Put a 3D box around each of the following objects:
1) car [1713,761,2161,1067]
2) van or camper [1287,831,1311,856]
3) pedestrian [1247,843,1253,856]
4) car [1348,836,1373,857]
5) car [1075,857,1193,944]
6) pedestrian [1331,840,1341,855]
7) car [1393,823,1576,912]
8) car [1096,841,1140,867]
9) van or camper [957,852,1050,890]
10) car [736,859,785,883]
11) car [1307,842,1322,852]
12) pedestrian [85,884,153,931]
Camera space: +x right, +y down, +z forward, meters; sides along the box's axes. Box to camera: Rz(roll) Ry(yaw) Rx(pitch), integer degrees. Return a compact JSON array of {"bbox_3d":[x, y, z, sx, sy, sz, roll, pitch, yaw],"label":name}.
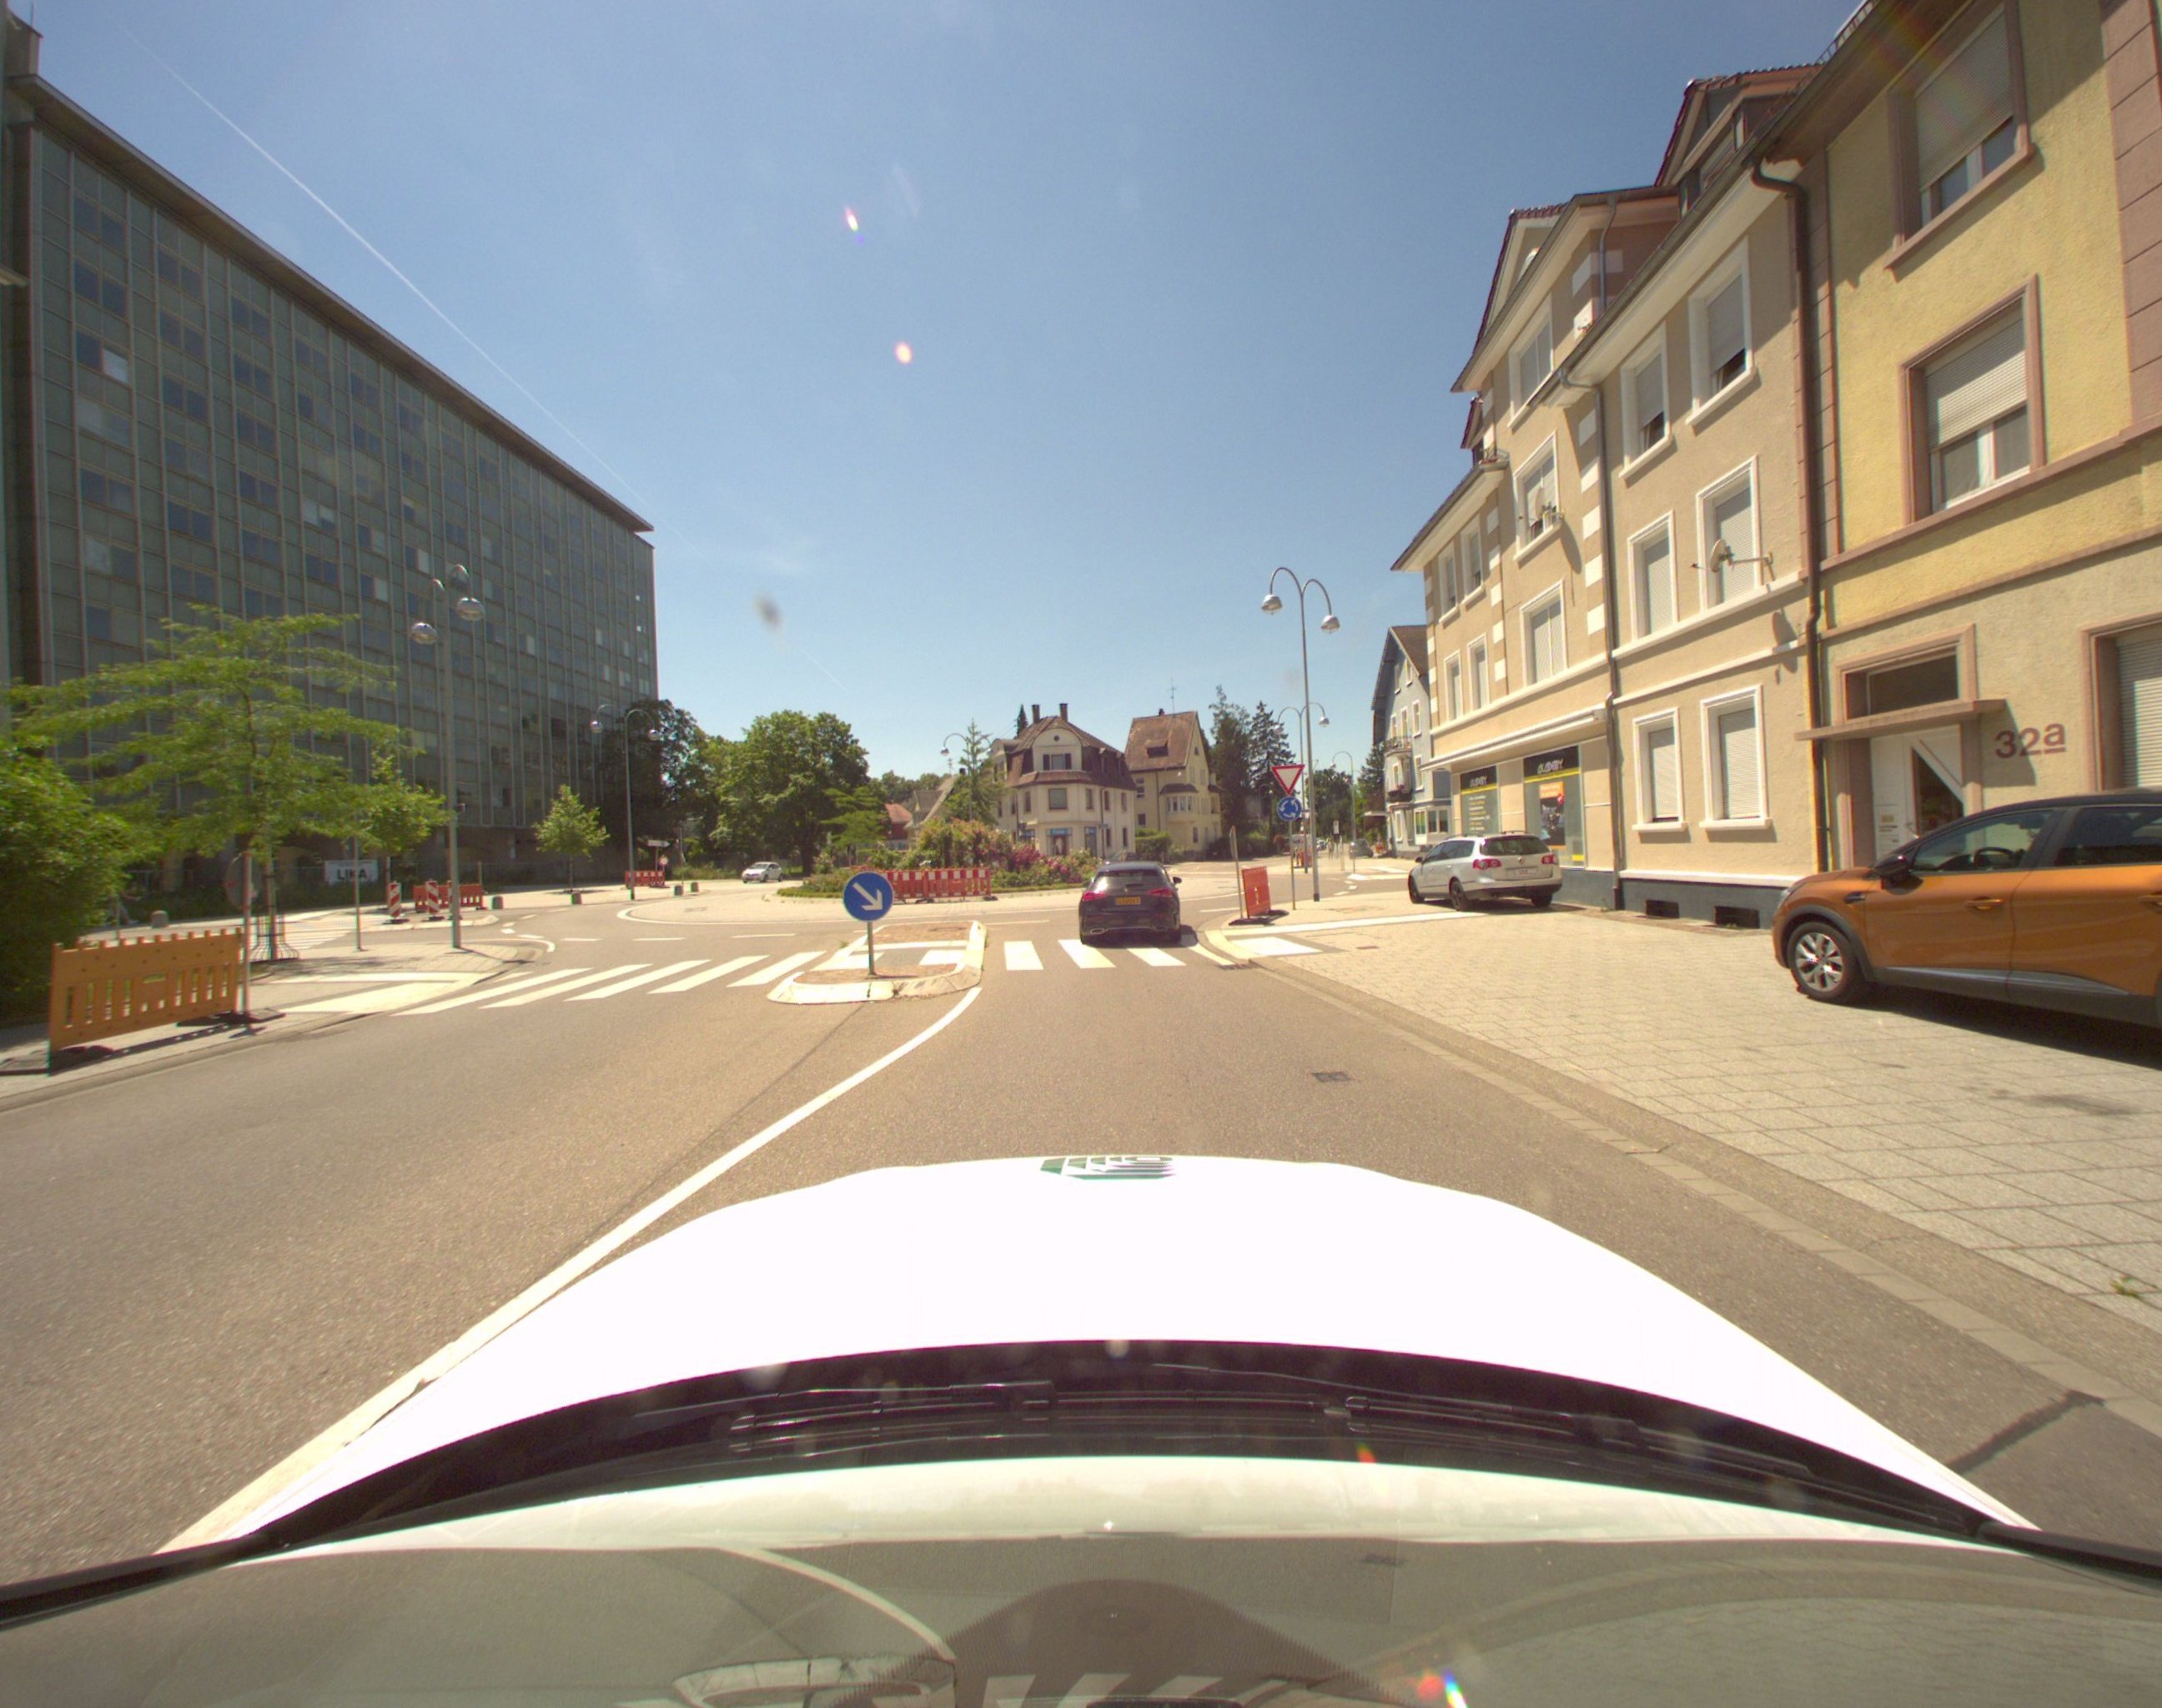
[{"bbox_3d":[6.598,0.254,5.326,1.665,1.619,4.368,-5,0,4],"label":"car"},{"bbox_3d":[24.016,-1.181,89.509,2.187,2.610,4.020,-2,0,19],"label":"van or camper"},{"bbox_3d":[19.858,-0.559,95.756,0.518,1.509,0.476,-2,0,27],"label":"pedestrian"},{"bbox_3d":[22.405,-0.620,65.147,1.625,1.507,3.583,-6,-1,21],"label":"car"},{"bbox_3d":[0.965,0.804,15.666,1.946,1.427,4.002,-1,-1,2],"label":"car"},{"bbox_3d":[23.845,-0.593,76.097,0.660,1.286,0.591,-6,-1,29],"label":"pedestrian"},{"bbox_3d":[8.321,0.238,17.333,1.756,1.530,4.695,-4,0,4],"label":"car"},{"bbox_3d":[2.635,-0.008,56.999,1.904,1.772,4.021,-1,0,21],"label":"car"},{"bbox_3d":[-4.691,0.987,49.960,5.438,2.172,1.978,-1,-1,-37],"label":"van or camper"},{"bbox_3d":[-23.609,1.278,60.116,1.777,1.597,3.924,-2,-2,4],"label":"car"},{"bbox_3d":[39.584,-1.140,138.063,1.977,1.651,4.020,-2,0,20],"label":"car"},{"bbox_3d":[-34.443,1.907,29.185,0.938,1.585,1.289,-2,0,20],"label":"pedestrian"}]
